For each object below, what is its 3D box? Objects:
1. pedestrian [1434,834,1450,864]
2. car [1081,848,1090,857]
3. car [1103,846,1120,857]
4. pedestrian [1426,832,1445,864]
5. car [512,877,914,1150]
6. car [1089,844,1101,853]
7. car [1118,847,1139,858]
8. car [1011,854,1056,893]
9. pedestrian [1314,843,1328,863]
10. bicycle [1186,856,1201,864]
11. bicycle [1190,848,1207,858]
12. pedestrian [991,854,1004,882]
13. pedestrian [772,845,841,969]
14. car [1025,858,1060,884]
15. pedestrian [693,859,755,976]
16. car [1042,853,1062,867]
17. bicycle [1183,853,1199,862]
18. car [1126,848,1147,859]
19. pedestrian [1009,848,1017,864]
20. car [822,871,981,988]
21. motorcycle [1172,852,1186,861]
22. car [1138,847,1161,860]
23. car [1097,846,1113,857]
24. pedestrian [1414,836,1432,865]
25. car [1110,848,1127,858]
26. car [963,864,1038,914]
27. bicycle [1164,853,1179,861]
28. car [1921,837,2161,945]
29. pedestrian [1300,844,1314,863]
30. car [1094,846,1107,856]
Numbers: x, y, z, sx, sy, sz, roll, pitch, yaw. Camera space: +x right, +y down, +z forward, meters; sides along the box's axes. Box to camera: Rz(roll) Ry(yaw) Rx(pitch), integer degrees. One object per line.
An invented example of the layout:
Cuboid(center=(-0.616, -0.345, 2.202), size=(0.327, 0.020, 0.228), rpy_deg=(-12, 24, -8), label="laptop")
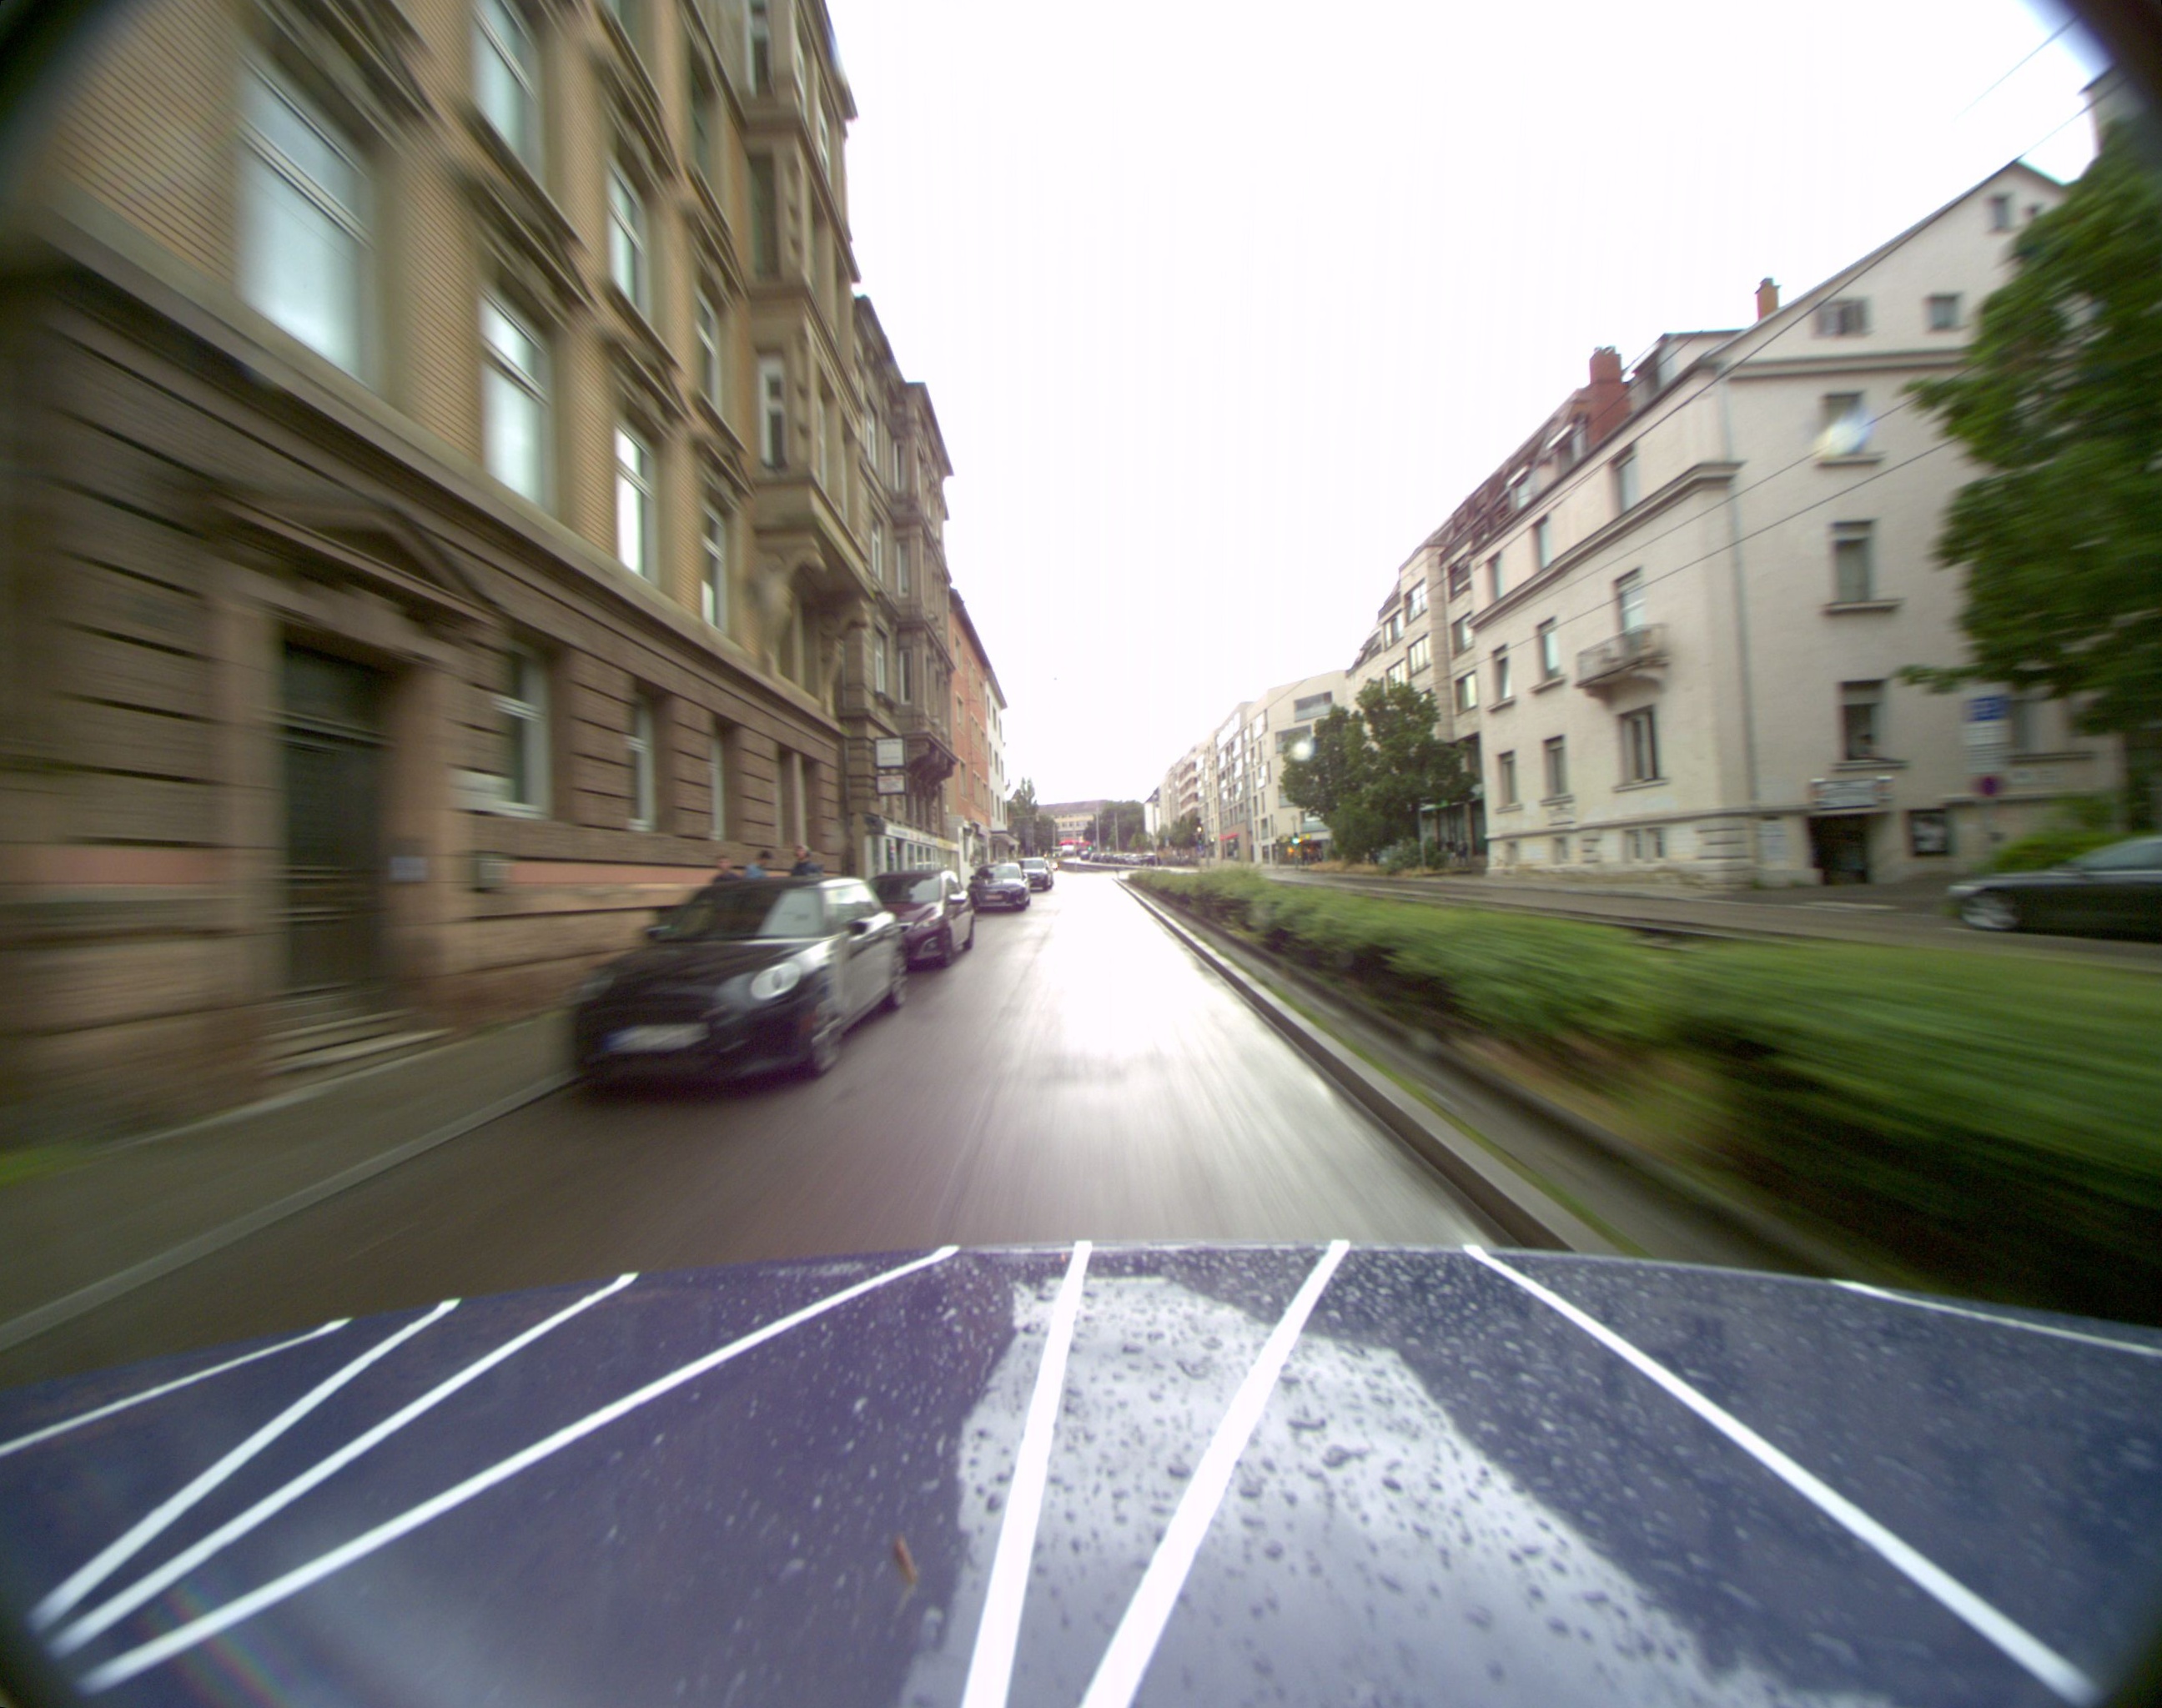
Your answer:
Cuboid(center=(19.873, -0.284, 41.817), size=(0.505, 1.589, 0.585), rpy_deg=(-5, 2, -2), label="pedestrian")
Cuboid(center=(0.964, -0.294, 154.593), size=(1.655, 1.456, 3.668), rpy_deg=(-5, 2, -1), label="car")
Cuboid(center=(4.791, -0.357, 120.684), size=(1.685, 1.555, 3.924), rpy_deg=(-4, 2, -11), label="car")
Cuboid(center=(19.876, -0.334, 42.637), size=(0.649, 1.715, 0.683), rpy_deg=(-5, 2, -1), label="pedestrian")
Cuboid(center=(-2.649, 1.025, 6.529), size=(1.581, 1.451, 3.820), rpy_deg=(-2, 1, -1), label="car")
Cuboid(center=(2.482, -1.029, 134.933), size=(1.651, 1.496, 3.778), rpy_deg=(-4, 2, -5), label="car")
Cuboid(center=(6.890, -0.237, 110.981), size=(1.686, 1.521, 4.044), rpy_deg=(-4, 2, -15), label="car")
Cuboid(center=(-2.346, 0.932, 38.493), size=(1.850, 1.623, 4.585), rpy_deg=(-3, 1, 1), label="car")
Cuboid(center=(19.685, -0.046, 62.330), size=(0.649, 1.560, 0.775), rpy_deg=(-7, 3, -37), label="pedestrian")
Cuboid(center=(13.348, 0.713, 90.208), size=(1.791, 0.912, 0.386), rpy_deg=(-5, 2, -30), label="bicycle")
Cuboid(center=(13.596, -0.087, 87.995), size=(1.790, 0.975, 0.440), rpy_deg=(-4, 2, -14), label="bicycle")
Cuboid(center=(-4.725, 0.802, 43.033), size=(0.690, 1.562, 0.762), rpy_deg=(-1, -1, -11), label="pedestrian")
Cuboid(center=(-4.158, 0.788, 11.573), size=(0.705, 1.808, 0.961), rpy_deg=(0, -1, 0), label="pedestrian")
Cuboid(center=(-2.334, 0.987, 46.765), size=(1.806, 1.447, 4.586), rpy_deg=(-2, 0, 1), label="car")
Cuboid(center=(-4.999, 0.868, 10.682), size=(0.521, 1.571, 0.677), rpy_deg=(0, 2, 0), label="pedestrian")
Cuboid(center=(-3.443, 0.712, 89.570), size=(1.595, 1.456, 3.666), rpy_deg=(-5, 2, -11), label="car")
Cuboid(center=(12.917, 0.419, 89.209), size=(1.789, 0.871, 0.387), rpy_deg=(-4, 2, -12), label="bicycle")
Cuboid(center=(7.722, -0.095, 105.800), size=(1.685, 1.456, 4.324), rpy_deg=(-4, 2, -11), label="car")
Cuboid(center=(-7.345, 0.237, 82.240), size=(0.749, 1.754, 0.817), rpy_deg=(1, 1, -11), label="pedestrian")
Cuboid(center=(-2.713, 1.079, 12.245), size=(1.653, 1.451, 3.476), rpy_deg=(-2, 1, 1), label="car")
Cuboid(center=(12.487, 0.312, 96.920), size=(1.765, 1.037, 0.542), rpy_deg=(-2, 3, -13), label="motorcycle")
Cuboid(center=(8.929, -0.082, 99.357), size=(1.685, 1.595, 4.324), rpy_deg=(-4, 2, -11), label="car")
Cuboid(center=(3.936, -0.420, 124.679), size=(1.685, 1.496, 3.924), rpy_deg=(-4, 2, -11), label="car")
Cuboid(center=(19.184, -0.193, 42.626), size=(0.649, 1.540, 0.683), rpy_deg=(-5, 2, -1), label="pedestrian")
Cuboid(center=(5.712, -0.162, 115.630), size=(1.685, 1.373, 4.028), rpy_deg=(-4, 2, -11), label="car")
Cuboid(center=(-2.443, 1.054, 24.178), size=(1.796, 1.398, 4.258), rpy_deg=(-1, -1, 2), label="car")
Cuboid(center=(11.171, 0.364, 93.696), size=(1.790, 0.912, 0.387), rpy_deg=(-3, 2, -14), label="bicycle")
Cuboid(center=(14.609, 0.463, 10.098), size=(1.698, 1.369, 4.721), rpy_deg=(-1, 0, 1), label="car")
Cuboid(center=(22.182, -0.042, 74.547), size=(0.933, 1.819, 0.958), rpy_deg=(-2, 2, -8), label="pedestrian")
Cuboid(center=(3.335, -0.458, 129.411), size=(1.685, 1.496, 4.401), rpy_deg=(-4, 2, -6), label="car")
